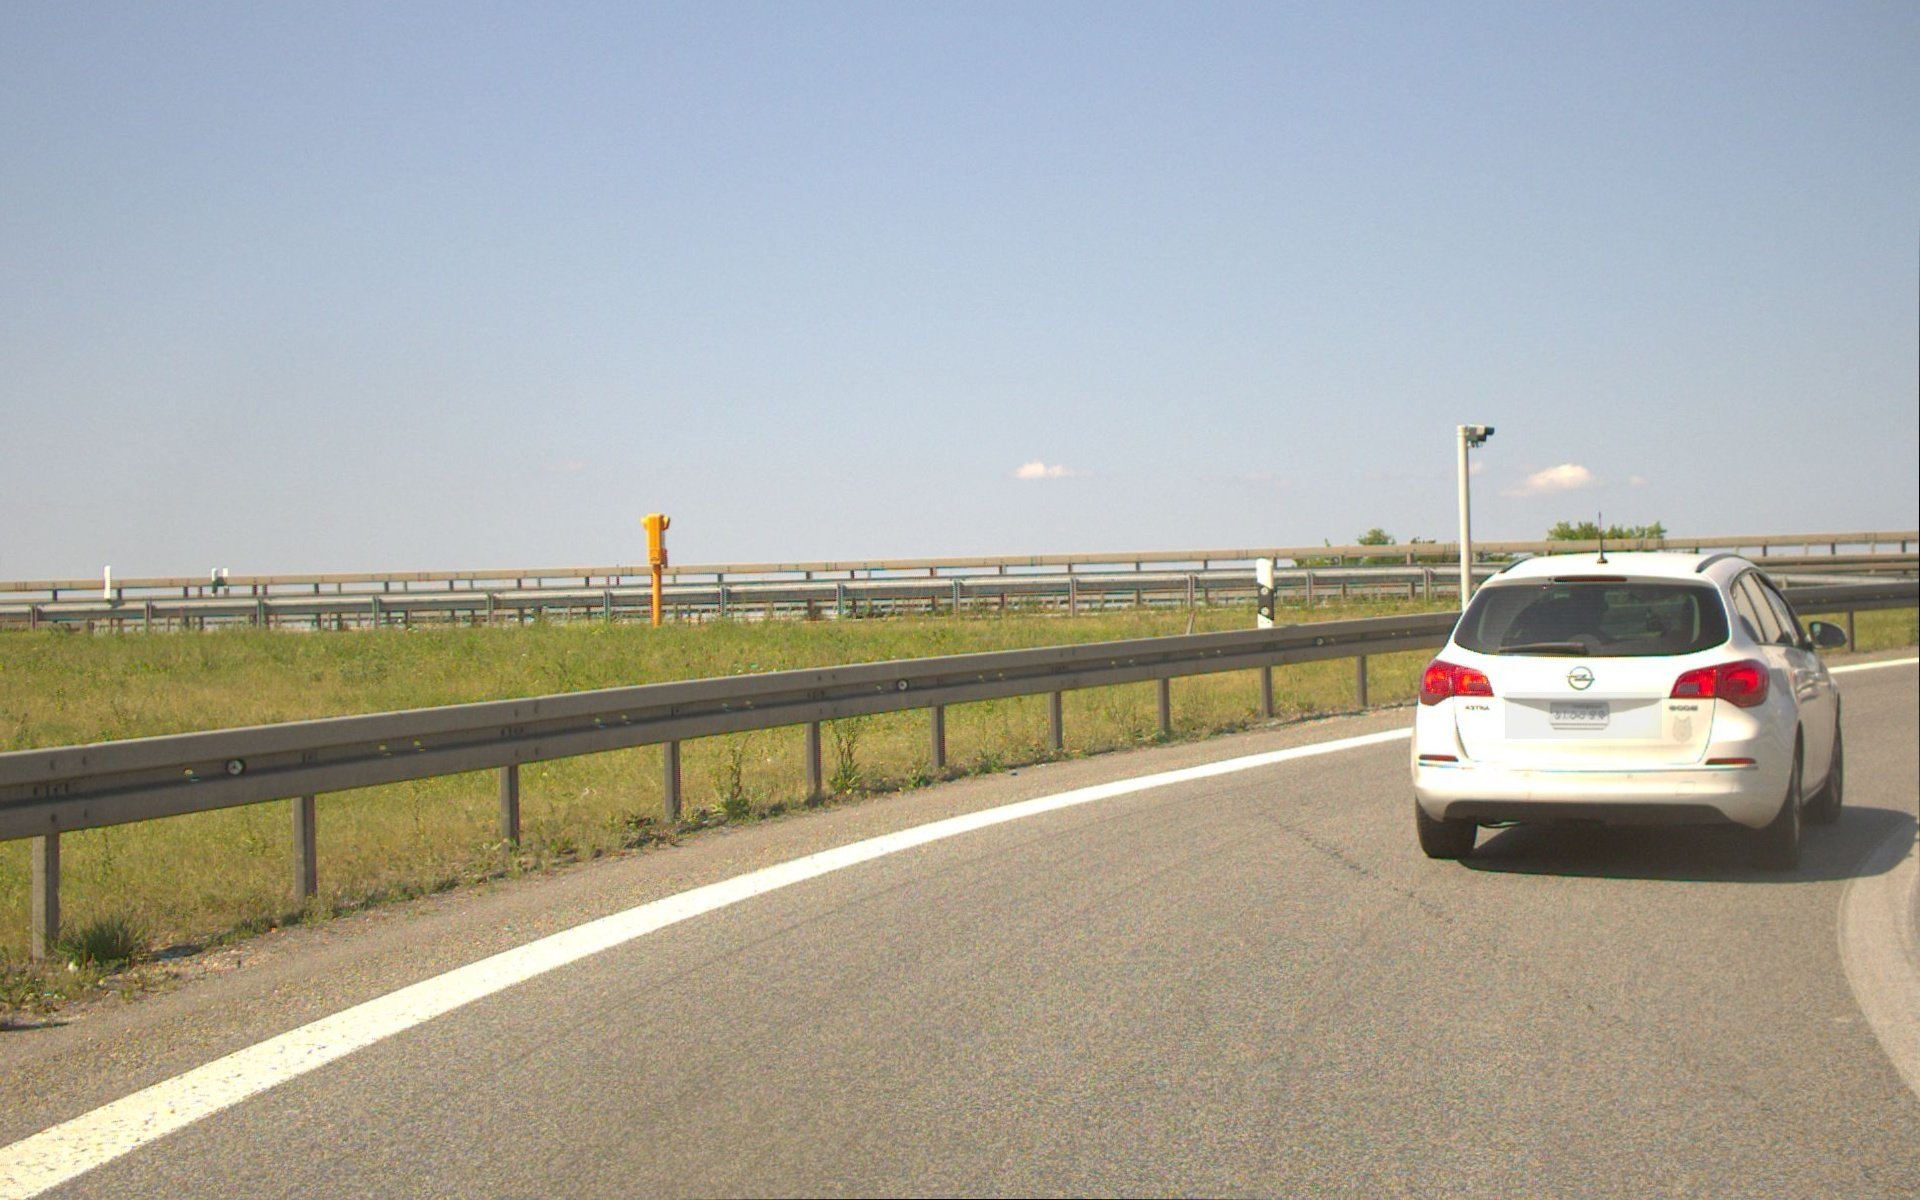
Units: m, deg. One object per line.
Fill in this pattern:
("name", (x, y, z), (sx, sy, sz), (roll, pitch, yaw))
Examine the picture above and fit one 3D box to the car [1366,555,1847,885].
("car", (3.398, 0.507, 17.397), (1.856, 1.438, 4.368), (-1, 1, 18))
